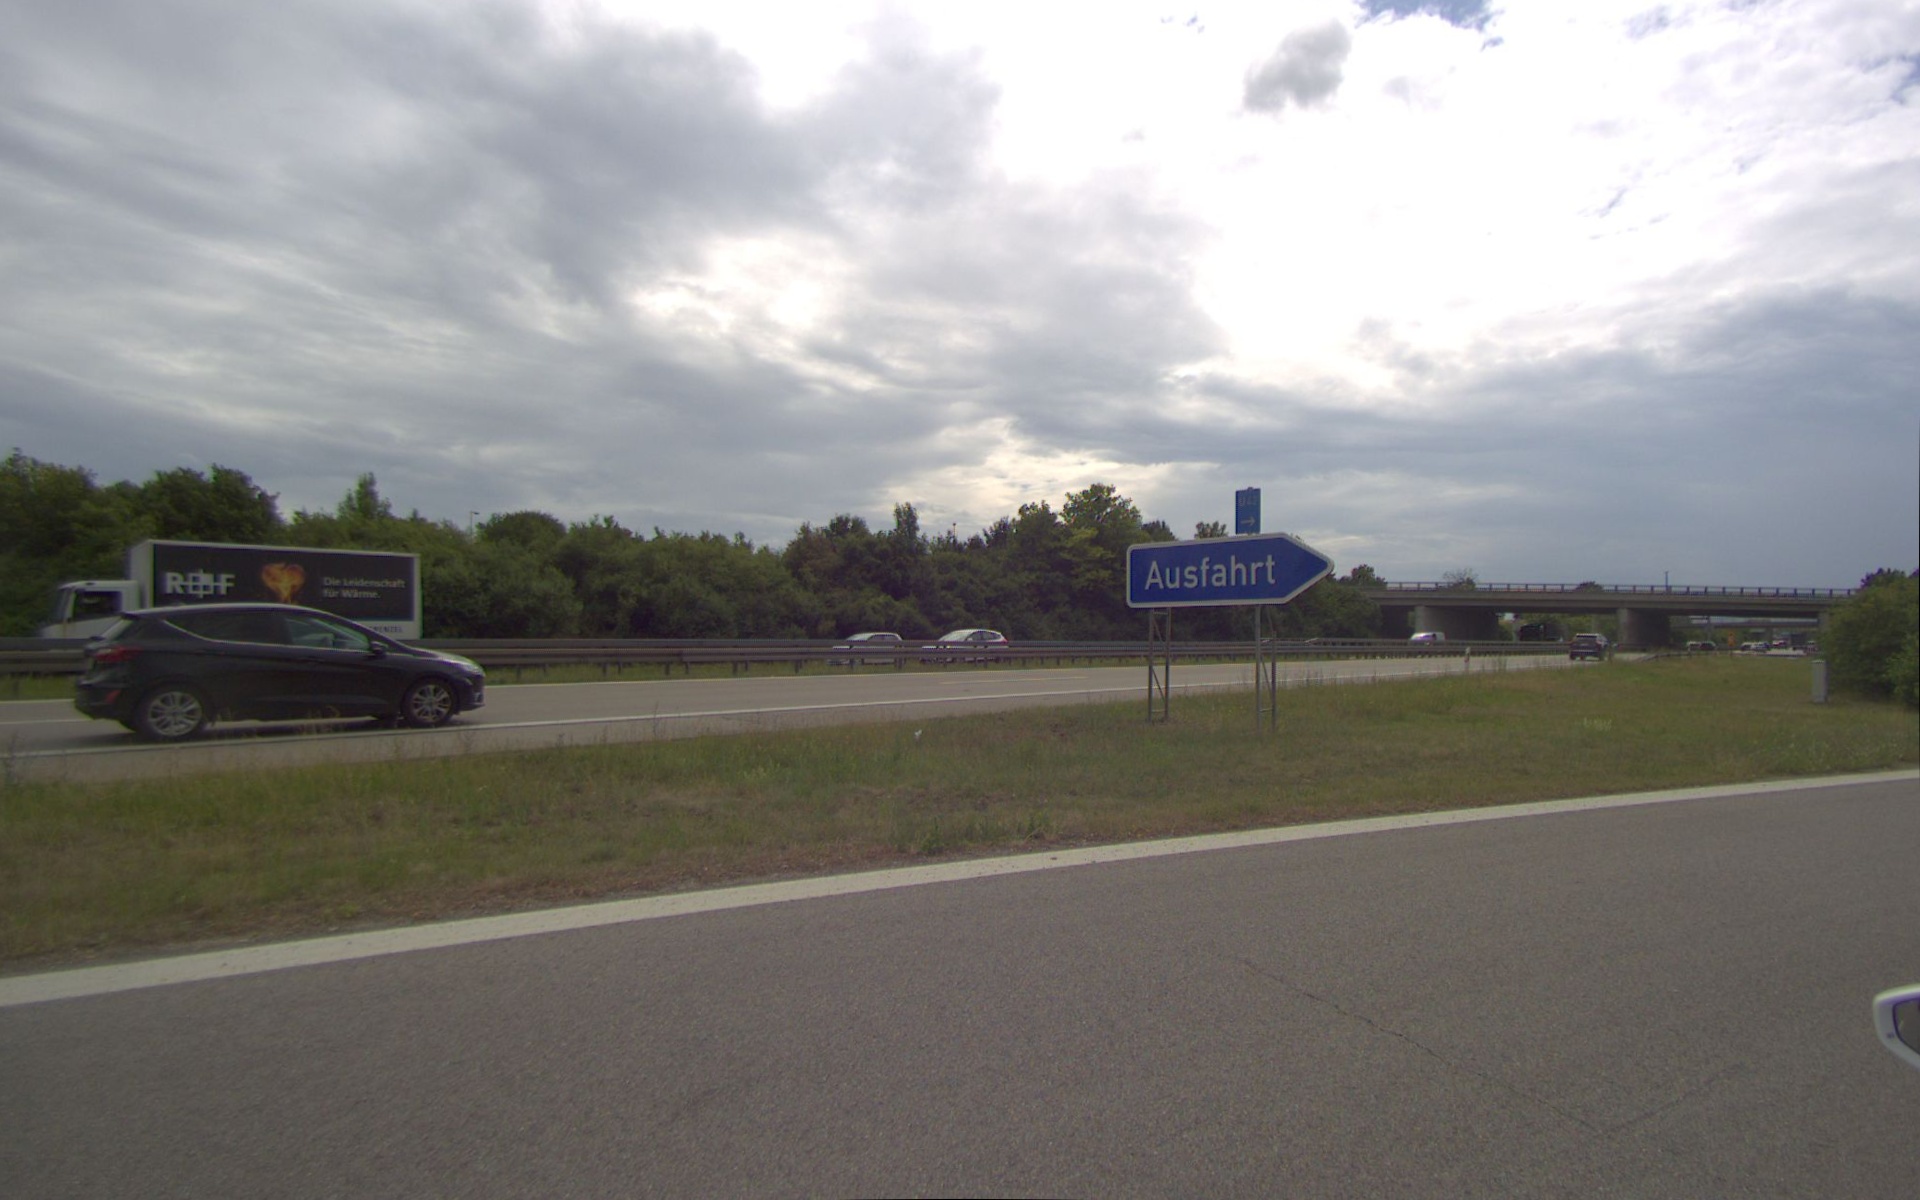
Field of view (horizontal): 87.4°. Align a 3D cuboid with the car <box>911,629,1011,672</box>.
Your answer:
[{"bbox_3d":[0.080,2.003,40.164,1.852,1.595,3.979,0,-2,42],"label":"car"}]

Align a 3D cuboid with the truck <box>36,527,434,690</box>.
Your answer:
[{"bbox_3d":[-18.822,0.325,26.657,2.729,3.694,8.151,0,-2,43],"label":"truck"}]

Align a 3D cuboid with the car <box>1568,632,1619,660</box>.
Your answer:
[{"bbox_3d":[42.617,3.062,67.529,1.972,1.785,4.895,0,-2,44],"label":"car"}]

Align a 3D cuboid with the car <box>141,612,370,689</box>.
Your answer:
[{"bbox_3d":[-16.102,1.120,23.099,1.852,1.595,3.979,0,-2,42],"label":"car"}]

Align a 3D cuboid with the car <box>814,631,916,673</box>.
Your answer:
[{"bbox_3d":[-3.959,2.178,42.389,1.972,1.650,3.978,0,-2,43],"label":"car"}]

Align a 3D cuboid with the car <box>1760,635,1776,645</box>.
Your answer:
[{"bbox_3d":[152.642,7.595,189.718,1.972,1.766,4.802,-1,-3,43],"label":"car"}]

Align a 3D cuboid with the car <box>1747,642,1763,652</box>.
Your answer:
[{"bbox_3d":[115.536,6.821,145.920,1.697,1.539,3.980,0,-2,41],"label":"car"}]

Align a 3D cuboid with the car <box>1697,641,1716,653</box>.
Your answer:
[{"bbox_3d":[100.584,6.353,135.323,1.815,1.472,4.356,0,-2,41],"label":"car"}]

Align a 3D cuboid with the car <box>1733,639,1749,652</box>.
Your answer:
[{"bbox_3d":[131.100,7.684,168.621,1.969,2.040,3.983,2,-1,39],"label":"car"}]

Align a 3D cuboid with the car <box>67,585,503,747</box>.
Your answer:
[{"bbox_3d":[-7.789,0.712,11.880,1.691,1.576,3.978,0,-2,42],"label":"car"}]
